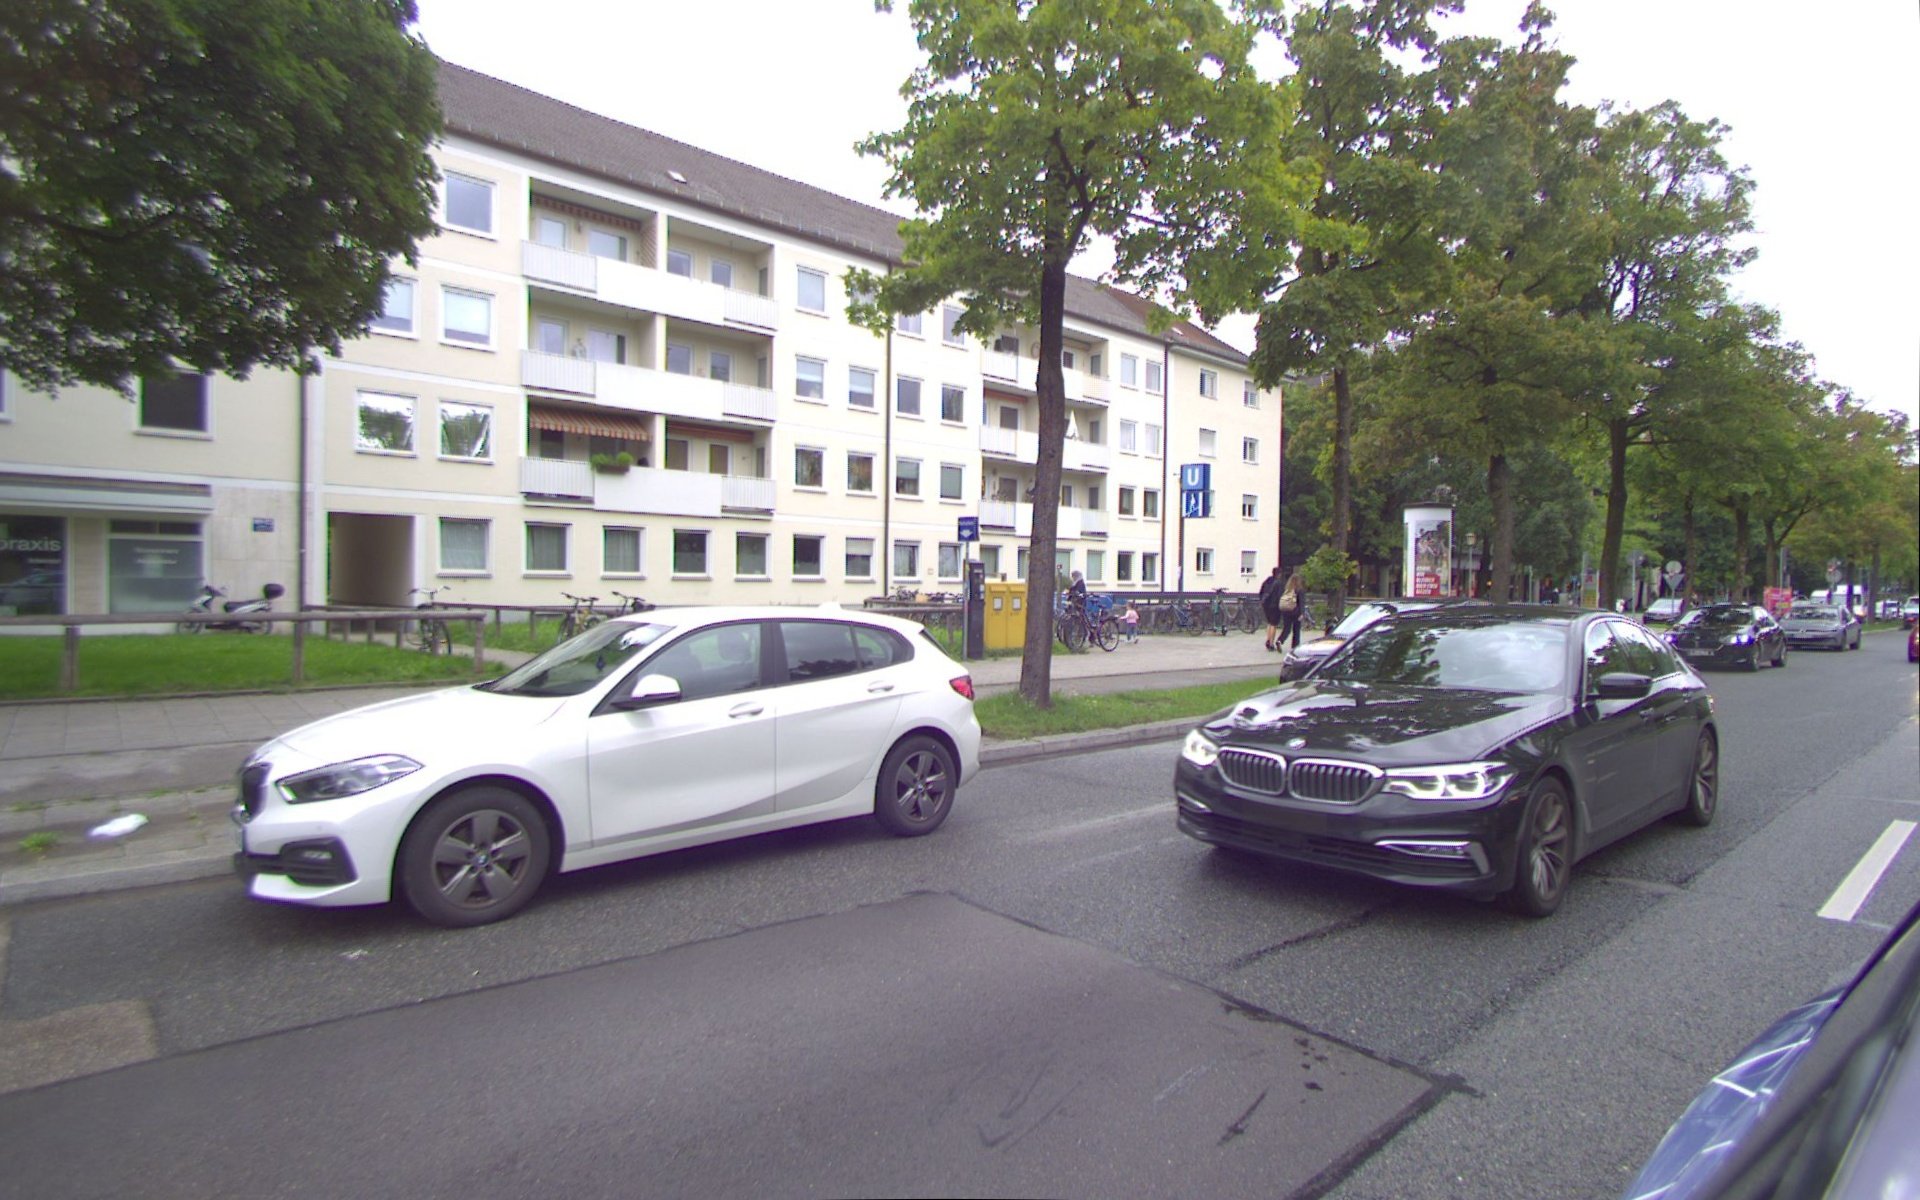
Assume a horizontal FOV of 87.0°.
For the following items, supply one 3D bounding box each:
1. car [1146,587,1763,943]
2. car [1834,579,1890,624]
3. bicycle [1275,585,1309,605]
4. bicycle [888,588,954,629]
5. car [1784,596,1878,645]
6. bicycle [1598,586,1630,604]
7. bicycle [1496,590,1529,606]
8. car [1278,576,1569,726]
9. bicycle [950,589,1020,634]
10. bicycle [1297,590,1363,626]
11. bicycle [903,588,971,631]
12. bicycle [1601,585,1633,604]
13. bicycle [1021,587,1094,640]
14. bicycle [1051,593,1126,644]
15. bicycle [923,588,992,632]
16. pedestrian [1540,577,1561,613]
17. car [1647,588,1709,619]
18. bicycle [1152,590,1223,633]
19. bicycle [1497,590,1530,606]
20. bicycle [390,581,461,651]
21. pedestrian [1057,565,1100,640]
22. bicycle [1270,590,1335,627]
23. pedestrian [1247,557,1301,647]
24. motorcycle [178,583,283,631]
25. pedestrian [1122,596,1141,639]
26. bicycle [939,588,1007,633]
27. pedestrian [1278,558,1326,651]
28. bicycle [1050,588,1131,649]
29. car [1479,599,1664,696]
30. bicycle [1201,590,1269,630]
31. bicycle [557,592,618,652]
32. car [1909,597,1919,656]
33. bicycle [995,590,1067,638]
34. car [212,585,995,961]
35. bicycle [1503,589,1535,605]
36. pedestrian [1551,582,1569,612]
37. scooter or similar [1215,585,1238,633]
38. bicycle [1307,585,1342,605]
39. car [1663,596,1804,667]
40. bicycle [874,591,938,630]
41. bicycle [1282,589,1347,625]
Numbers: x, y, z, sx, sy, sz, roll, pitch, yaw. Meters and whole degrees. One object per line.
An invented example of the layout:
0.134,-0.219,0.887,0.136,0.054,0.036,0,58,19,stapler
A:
3.346,0.686,6.356,4.585,1.461,1.798,0,-1,-40,car
56.812,0.110,63.711,5.902,2.691,1.976,0,-1,-42,car
17.638,-0.273,53.726,0.448,0.983,1.692,1,1,-44,bicycle
-1.001,0.213,26.533,1.850,1.041,0.432,0,2,-41,bicycle
27.933,0.630,32.431,4.042,1.484,1.685,0,0,-40,car
57.813,-0.437,89.481,0.638,1.551,2.312,0,1,-41,bicycle
40.553,-0.157,74.297,0.447,1.134,2.079,0,1,-41,bicycle
5.825,0.528,12.482,4.201,1.552,1.719,0,0,-41,car
0.619,0.277,24.456,1.850,1.041,0.432,0,2,-41,bicycle
11.522,0.243,31.568,1.876,1.041,0.426,3,2,42,bicycle
-0.560,0.233,25.685,1.850,1.041,0.432,0,2,-41,bicycle
59.172,-0.504,91.103,0.638,1.643,2.312,0,1,-41,bicycle
2.185,0.287,22.441,1.850,1.115,0.432,0,1,-41,bicycle
2.733,0.377,21.398,1.850,1.041,0.432,0,2,-41,bicycle
-0.049,0.249,25.176,1.850,1.041,0.432,0,2,-41,bicycle
29.426,-0.237,50.437,0.835,1.771,0.640,1,2,-43,pedestrian
40.871,0.168,57.546,4.122,1.654,1.826,0,2,-39,car
5.973,0.280,26.667,0.425,1.041,1.879,0,2,-43,bicycle
41.051,-0.151,75.046,0.447,1.134,2.079,0,1,-41,bicycle
-7.755,0.215,14.647,0.548,0.951,1.881,0,0,-39,bicycle
2.749,0.043,23.555,0.824,1.702,0.836,1,1,-4,pedestrian
10.383,0.246,30.749,0.425,1.041,1.879,0,2,-43,bicycle
6.846,0.022,22.069,0.904,1.913,0.730,0,2,-42,pedestrian
-16.278,0.134,22.602,1.873,1.036,0.605,0,0,-41,motorcycle
3.909,0.397,23.036,0.402,0.961,0.434,1,1,10,pedestrian
0.334,0.248,24.855,1.850,1.041,0.432,0,2,-41,bicycle
7.292,0.082,21.561,0.886,1.913,0.589,0,1,-42,pedestrian
2.597,0.354,20.005,1.850,1.147,0.432,1,1,-41,bicycle
10.200,0.696,16.744,4.174,1.403,1.637,0,0,-44,car
7.694,0.257,28.370,0.425,1.041,1.879,0,2,-43,bicycle
-6.482,0.358,17.557,0.425,0.986,1.881,0,0,-39,bicycle
25.978,0.642,25.979,4.586,1.461,1.887,0,-1,-41,car
1.626,0.309,22.943,1.850,1.041,0.432,0,2,-41,bicycle
-1.837,0.697,6.017,4.066,1.484,1.684,0,-1,-42,car
41.897,-0.229,75.879,0.447,1.134,2.079,0,1,-41,bicycle
34.547,-0.181,58.251,0.628,1.752,0.602,0,0,-22,pedestrian
7.065,0.222,26.872,0.352,1.215,1.388,1,2,6,scooter or similar
18.899,-0.255,52.464,0.448,0.983,1.692,1,1,-44,bicycle
17.719,0.653,23.122,4.102,1.484,1.754,0,0,-40,car
-1.464,0.281,27.666,1.850,1.041,0.432,0,2,-41,bicycle
10.962,0.209,31.378,1.878,1.041,0.426,3,2,44,bicycle
